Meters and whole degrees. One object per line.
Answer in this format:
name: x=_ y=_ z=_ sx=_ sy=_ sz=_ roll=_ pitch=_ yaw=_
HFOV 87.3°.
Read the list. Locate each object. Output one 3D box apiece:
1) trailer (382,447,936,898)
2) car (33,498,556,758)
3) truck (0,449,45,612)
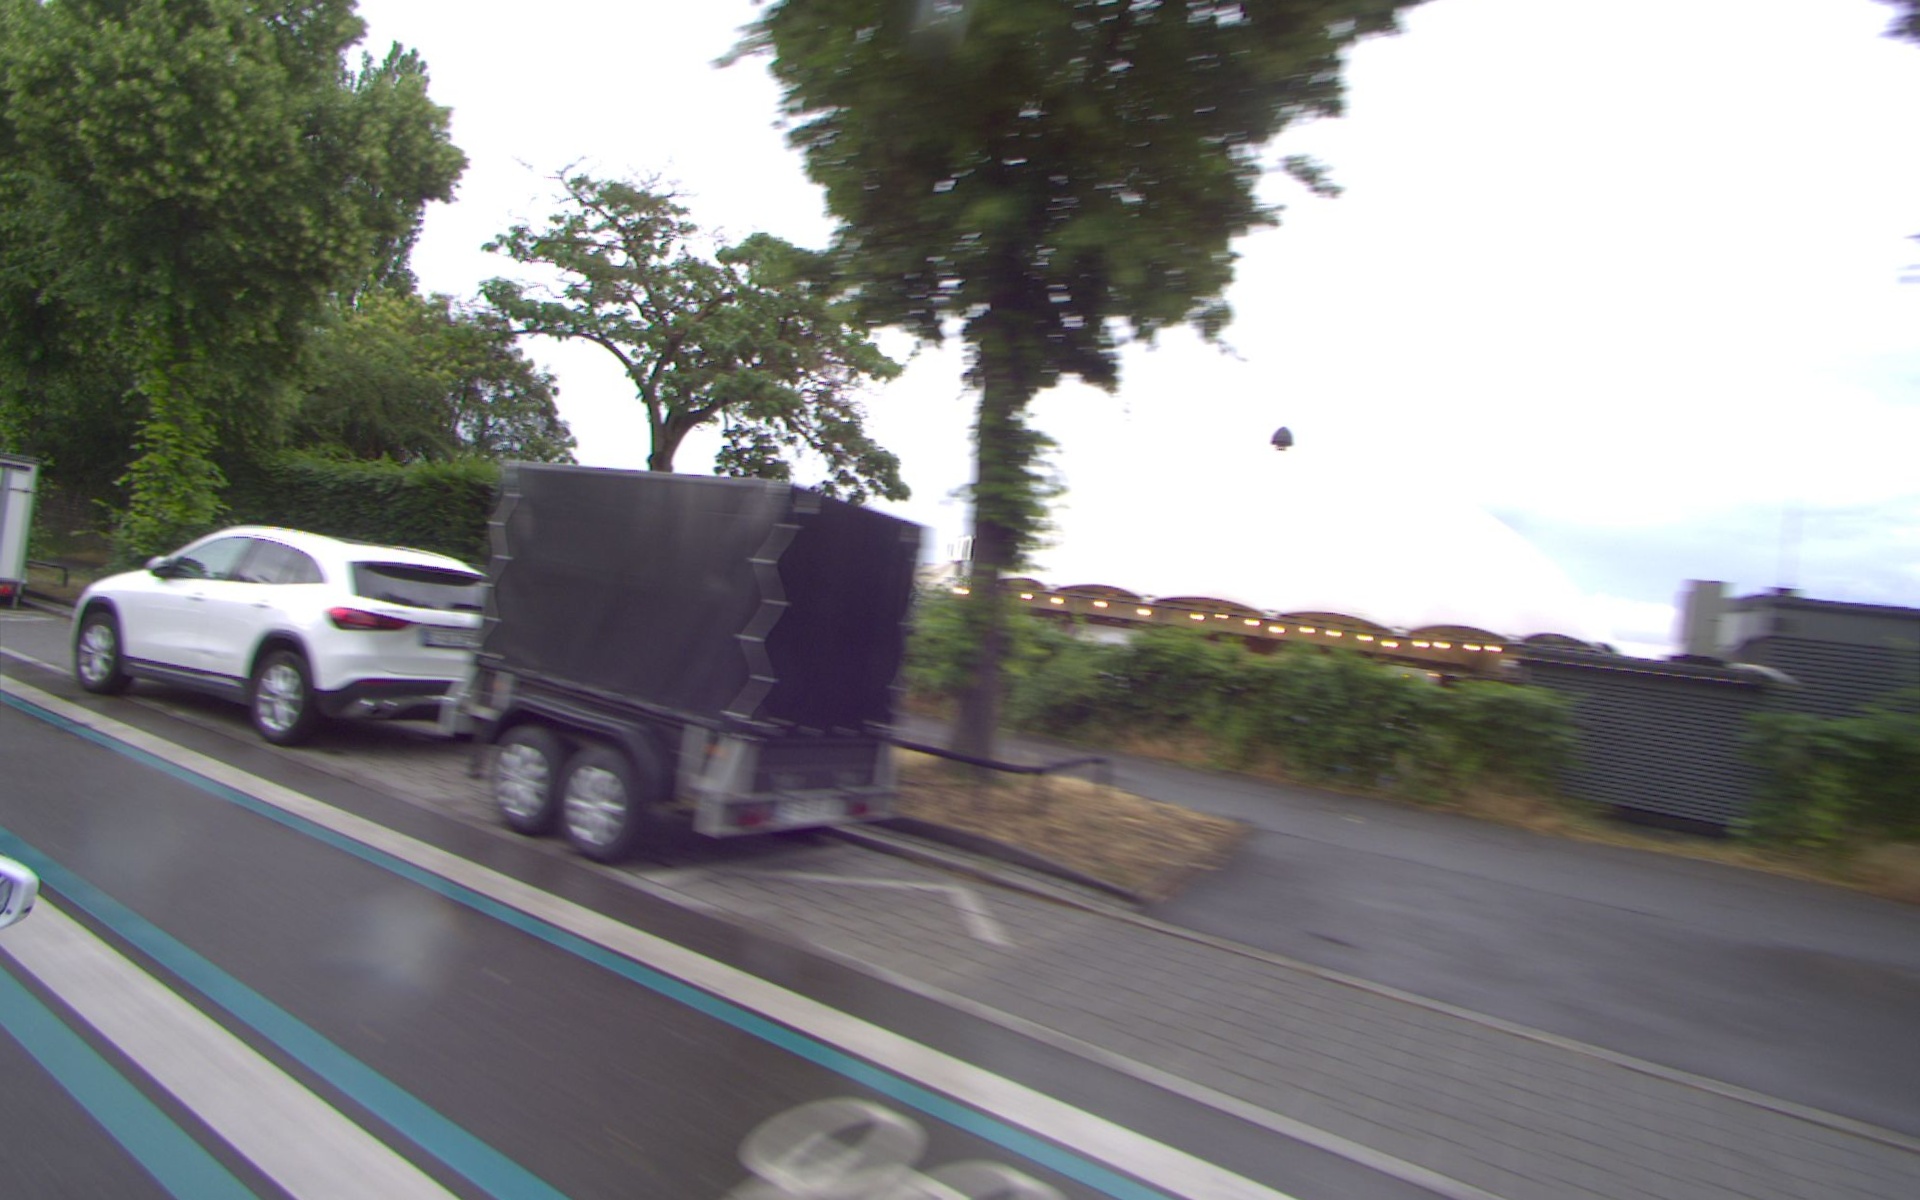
trailer: x=-2.098 y=0.288 z=6.650 sx=3.507 sy=2.295 sz=1.348 roll=6 pitch=-2 yaw=34
car: x=-5.892 y=0.175 z=8.849 sx=4.336 sy=1.603 sz=1.761 roll=6 pitch=-2 yaw=26
truck: x=-15.970 y=-1.247 z=15.401 sx=3.934 sy=2.361 sz=1.722 roll=6 pitch=-1 yaw=32
